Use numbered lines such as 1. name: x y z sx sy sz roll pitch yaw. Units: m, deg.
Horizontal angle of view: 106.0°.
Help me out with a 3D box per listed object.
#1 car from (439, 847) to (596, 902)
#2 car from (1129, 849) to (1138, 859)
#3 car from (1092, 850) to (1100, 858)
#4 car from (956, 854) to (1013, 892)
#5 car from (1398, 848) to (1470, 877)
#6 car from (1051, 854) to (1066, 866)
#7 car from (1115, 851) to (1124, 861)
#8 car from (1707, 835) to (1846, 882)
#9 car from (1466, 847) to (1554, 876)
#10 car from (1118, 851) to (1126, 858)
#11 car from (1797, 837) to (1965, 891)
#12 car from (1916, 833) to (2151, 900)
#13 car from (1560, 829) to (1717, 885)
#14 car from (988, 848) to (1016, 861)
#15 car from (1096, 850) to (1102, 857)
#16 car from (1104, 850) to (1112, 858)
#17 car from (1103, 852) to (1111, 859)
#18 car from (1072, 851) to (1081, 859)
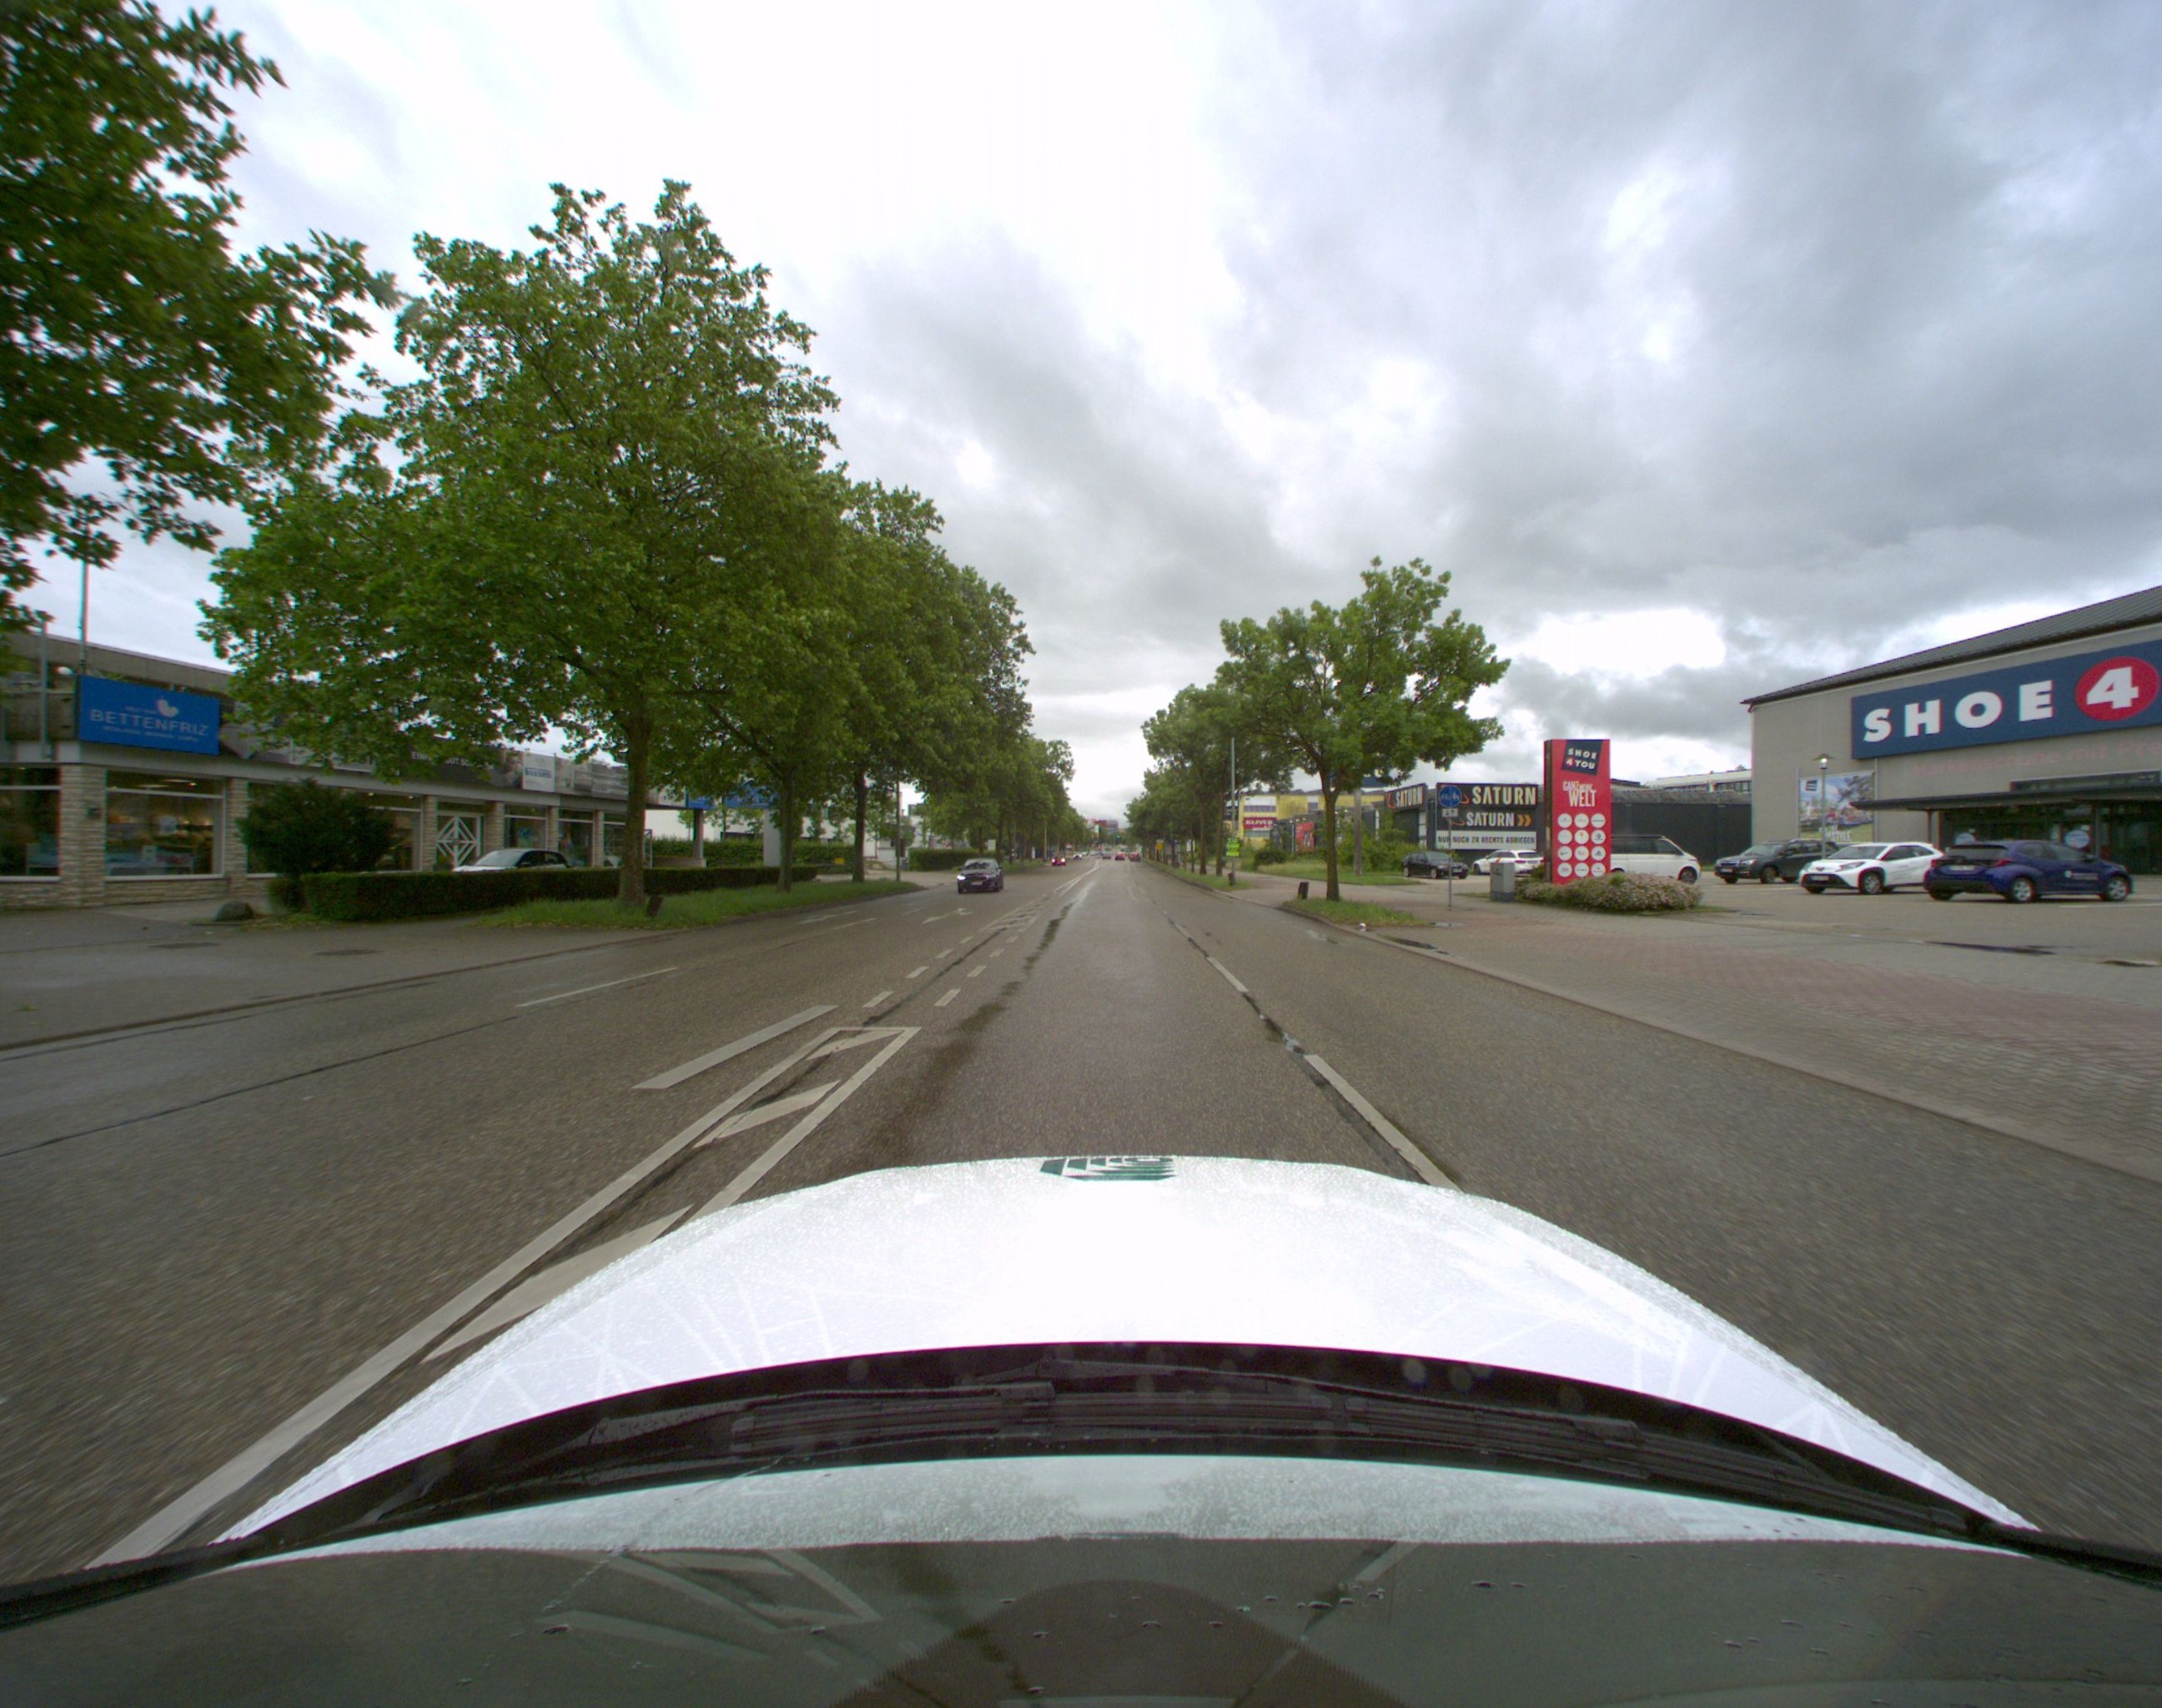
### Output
1. car: -16.568 0.557 24.223 1.816 1.486 3.941 -1 0 2
2. car: 10.167 0.001 157.304 1.737 2.013 4.005 -1 0 4
3. car: 3.782 -0.104 210.261 1.986 2.013 4.002 -1 0 2
4. car: -4.104 0.782 35.176 1.796 1.463 3.848 -2 0 3
5. car: 18.590 0.431 43.083 1.576 1.428 4.256 -1 0 -7
6. car: -2.895 0.744 106.523 1.719 1.517 3.824 -1 0 3
7. car: 8.156 0.398 174.144 1.737 2.013 4.005 -1 0 4
8. car: 27.168 0.159 31.868 4.239 1.729 1.738 -1 0 -6
9. car: 23.551 0.363 44.966 1.878 1.468 4.941 -1 0 -7
10. car: 9.401 0.090 187.666 1.737 1.737 4.005 -1 0 4
11. car: 23.787 0.286 24.274 3.634 1.514 1.672 -1 0 -6
12. car: 23.167 0.279 19.887 3.980 1.514 1.756 -1 0 -5
13. car: 21.276 0.119 31.174 4.816 2.014 1.985 -1 -1 -7
14. car: -12.343 0.141 127.397 3.970 1.925 1.828 -1 -1 3
15. car: 5.297 -0.105 239.074 1.820 2.013 4.000 -1 0 1
16. car: 7.069 -0.013 211.704 1.883 1.876 4.126 -1 0 2
17. car: 6.201 0.297 197.008 1.737 1.701 4.005 -1 0 4
18. car: -1.025 0.211 190.466 1.696 1.737 4.006 -1 0 5
